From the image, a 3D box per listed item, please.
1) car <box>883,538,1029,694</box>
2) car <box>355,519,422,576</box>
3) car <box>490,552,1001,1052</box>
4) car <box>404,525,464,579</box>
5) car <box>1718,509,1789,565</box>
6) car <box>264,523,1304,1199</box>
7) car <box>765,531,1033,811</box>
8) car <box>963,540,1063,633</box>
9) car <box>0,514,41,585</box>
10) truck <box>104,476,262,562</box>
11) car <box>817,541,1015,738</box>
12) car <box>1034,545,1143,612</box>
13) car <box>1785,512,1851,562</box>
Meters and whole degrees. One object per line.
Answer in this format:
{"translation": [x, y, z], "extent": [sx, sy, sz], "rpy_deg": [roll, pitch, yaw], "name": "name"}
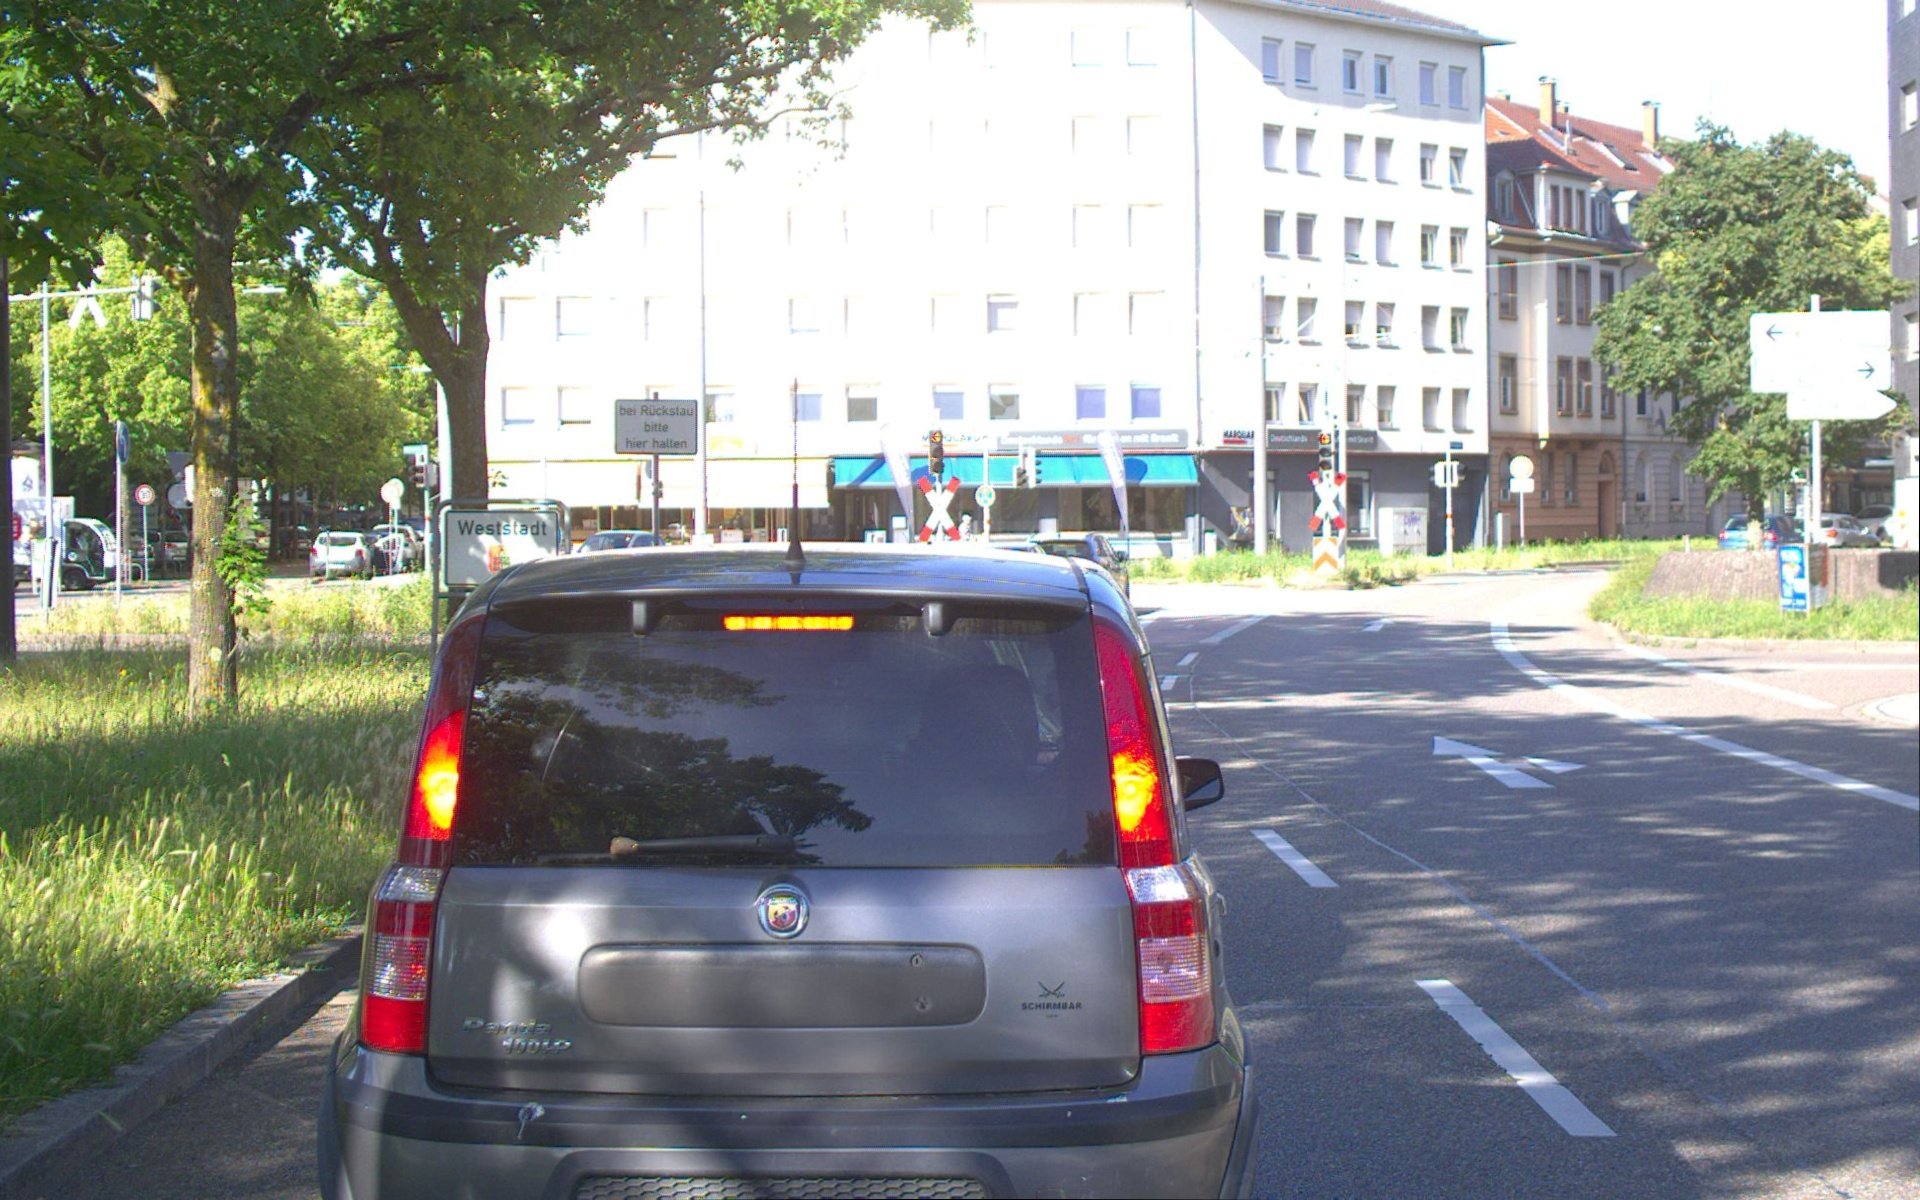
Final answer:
{"translation": [-0.058, 0.122, 33.869], "extent": [1.356, 1.444, 3.266], "rpy_deg": [-1, 1, -1], "name": "car"}
{"translation": [-20.515, -1.896, 123.588], "extent": [1.993, 2.007, 4.001], "rpy_deg": [-1, 1, -4], "name": "car"}
{"translation": [-0.639, 0.560, 11.646], "extent": [1.463, 1.396, 3.393], "rpy_deg": [0, 1, -1], "name": "car"}
{"translation": [-20.364, -1.883, 133.308], "extent": [1.993, 2.007, 4.001], "rpy_deg": [-1, 1, -4], "name": "car"}
{"translation": [20.882, -1.665, 90.396], "extent": [1.683, 1.444, 3.569], "rpy_deg": [0, 1, 15], "name": "car"}
{"translation": [-0.296, 0.598, 7.424], "extent": [1.628, 1.503, 4.000], "rpy_deg": [-1, 1, -1], "name": "car"}
{"translation": [-0.357, 0.356, 20.685], "extent": [1.463, 1.503, 3.505], "rpy_deg": [0, 2, -1], "name": "car"}
{"translation": [0.751, -0.213, 49.601], "extent": [1.356, 1.277, 2.876], "rpy_deg": [0, 1, -1], "name": "car"}
{"translation": [-28.531, -1.428, 97.986], "extent": [4.176, 2.007, 1.932], "rpy_deg": [-1, 1, -2], "name": "car"}
{"translation": [-28.880, -2.999, 127.779], "extent": [5.485, 3.158, 2.340], "rpy_deg": [0, 1, 28], "name": "truck"}
{"translation": [-0.343, 0.267, 27.291], "extent": [1.463, 1.420, 3.381], "rpy_deg": [0, 2, -1], "name": "car"}
{"translation": [2.173, -0.372, 57.676], "extent": [1.143, 1.060, 2.719], "rpy_deg": [0, 1, 17], "name": "car"}
{"translation": [23.451, -1.723, 93.888], "extent": [1.528, 1.310, 3.285], "rpy_deg": [0, 2, 18], "name": "car"}
